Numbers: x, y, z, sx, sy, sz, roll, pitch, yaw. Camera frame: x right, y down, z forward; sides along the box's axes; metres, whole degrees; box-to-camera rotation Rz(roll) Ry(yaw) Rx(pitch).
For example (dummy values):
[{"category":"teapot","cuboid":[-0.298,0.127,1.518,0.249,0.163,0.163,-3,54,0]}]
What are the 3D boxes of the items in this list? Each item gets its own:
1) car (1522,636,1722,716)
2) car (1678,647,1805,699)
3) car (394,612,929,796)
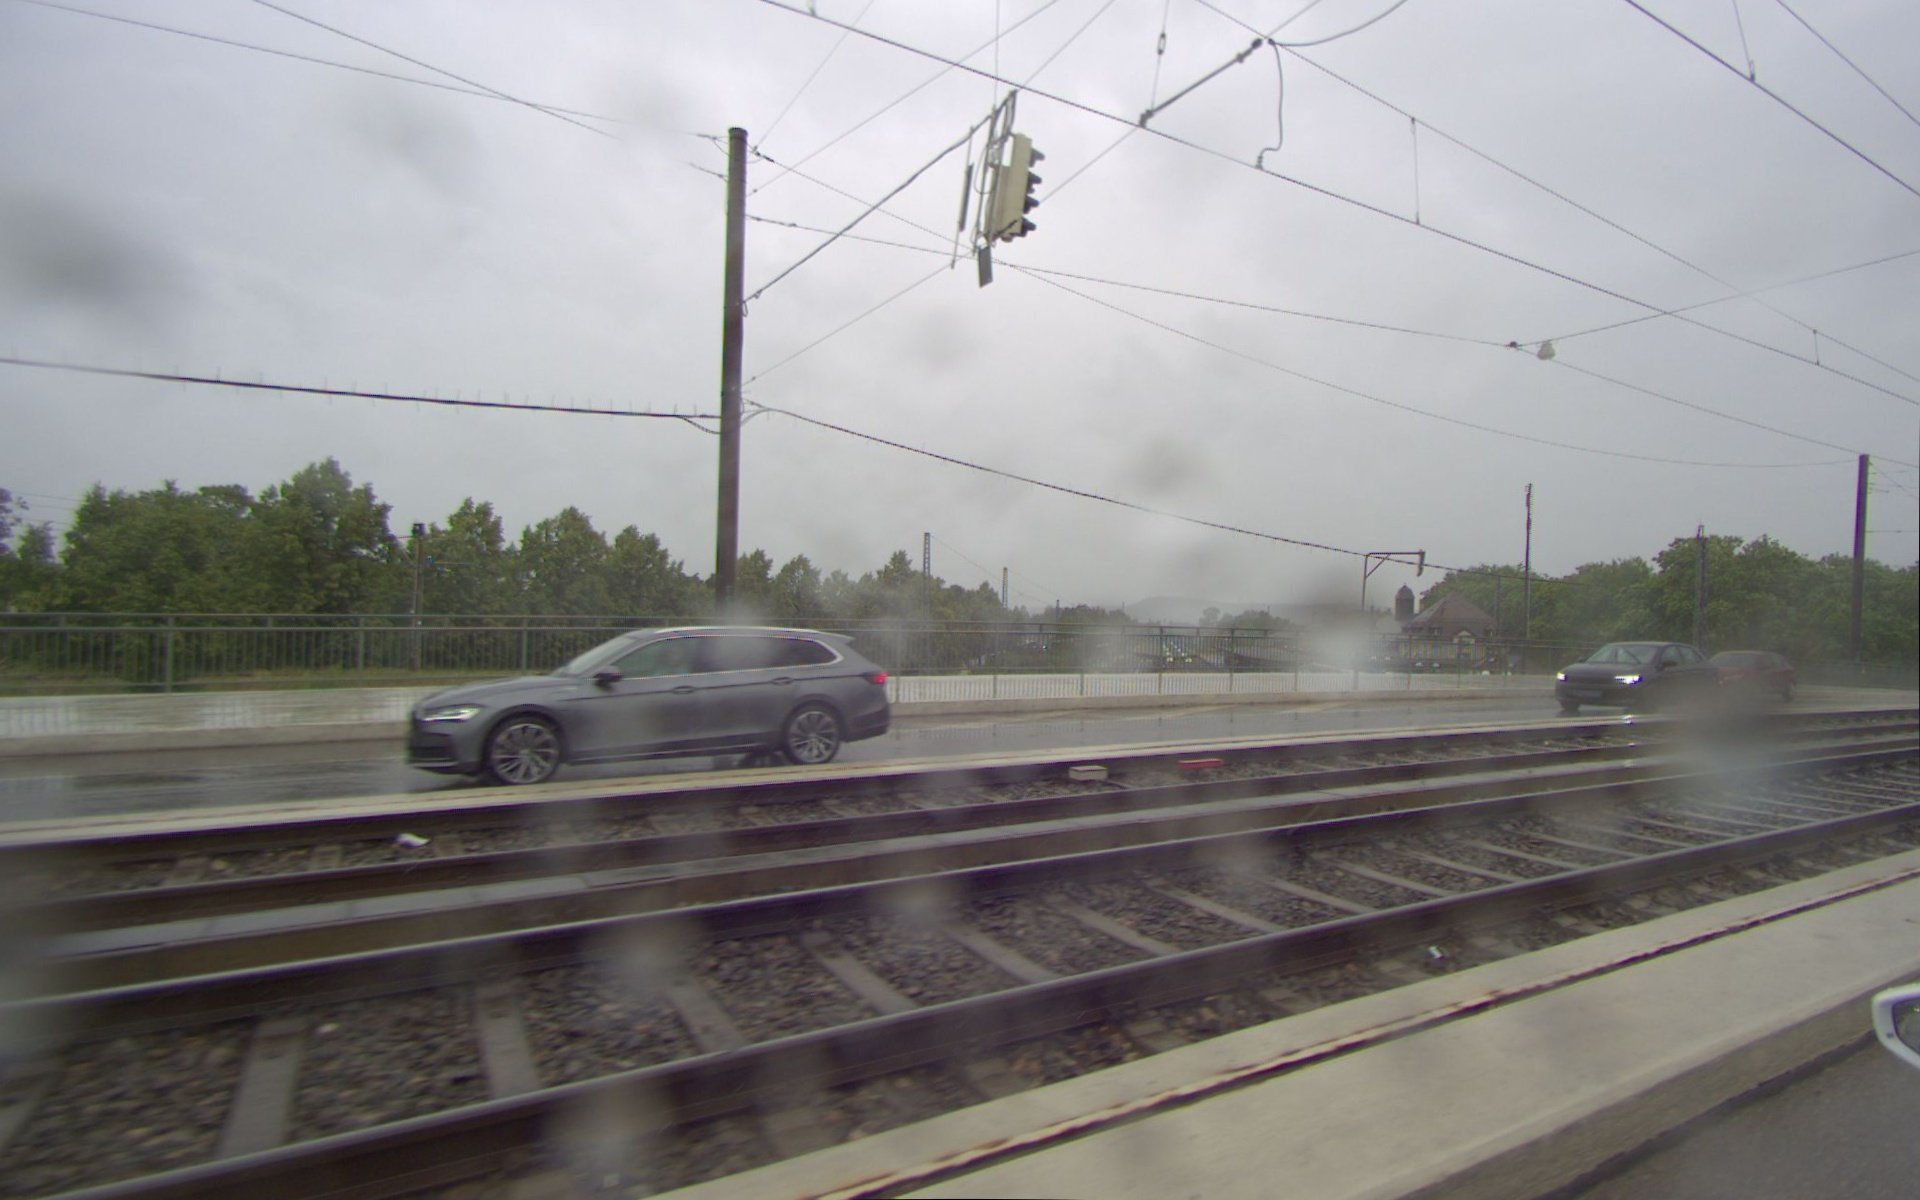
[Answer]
[{"category":"car","cuboid":[13.940,1.585,21.132,4.046,1.529,1.984,3,-4,-31]},{"category":"car","cuboid":[23.621,2.196,30.324,4.273,1.474,1.612,3,-4,-31]},{"category":"car","cuboid":[-3.002,1.027,10.619,5.059,1.529,1.983,3,-4,-33]}]
